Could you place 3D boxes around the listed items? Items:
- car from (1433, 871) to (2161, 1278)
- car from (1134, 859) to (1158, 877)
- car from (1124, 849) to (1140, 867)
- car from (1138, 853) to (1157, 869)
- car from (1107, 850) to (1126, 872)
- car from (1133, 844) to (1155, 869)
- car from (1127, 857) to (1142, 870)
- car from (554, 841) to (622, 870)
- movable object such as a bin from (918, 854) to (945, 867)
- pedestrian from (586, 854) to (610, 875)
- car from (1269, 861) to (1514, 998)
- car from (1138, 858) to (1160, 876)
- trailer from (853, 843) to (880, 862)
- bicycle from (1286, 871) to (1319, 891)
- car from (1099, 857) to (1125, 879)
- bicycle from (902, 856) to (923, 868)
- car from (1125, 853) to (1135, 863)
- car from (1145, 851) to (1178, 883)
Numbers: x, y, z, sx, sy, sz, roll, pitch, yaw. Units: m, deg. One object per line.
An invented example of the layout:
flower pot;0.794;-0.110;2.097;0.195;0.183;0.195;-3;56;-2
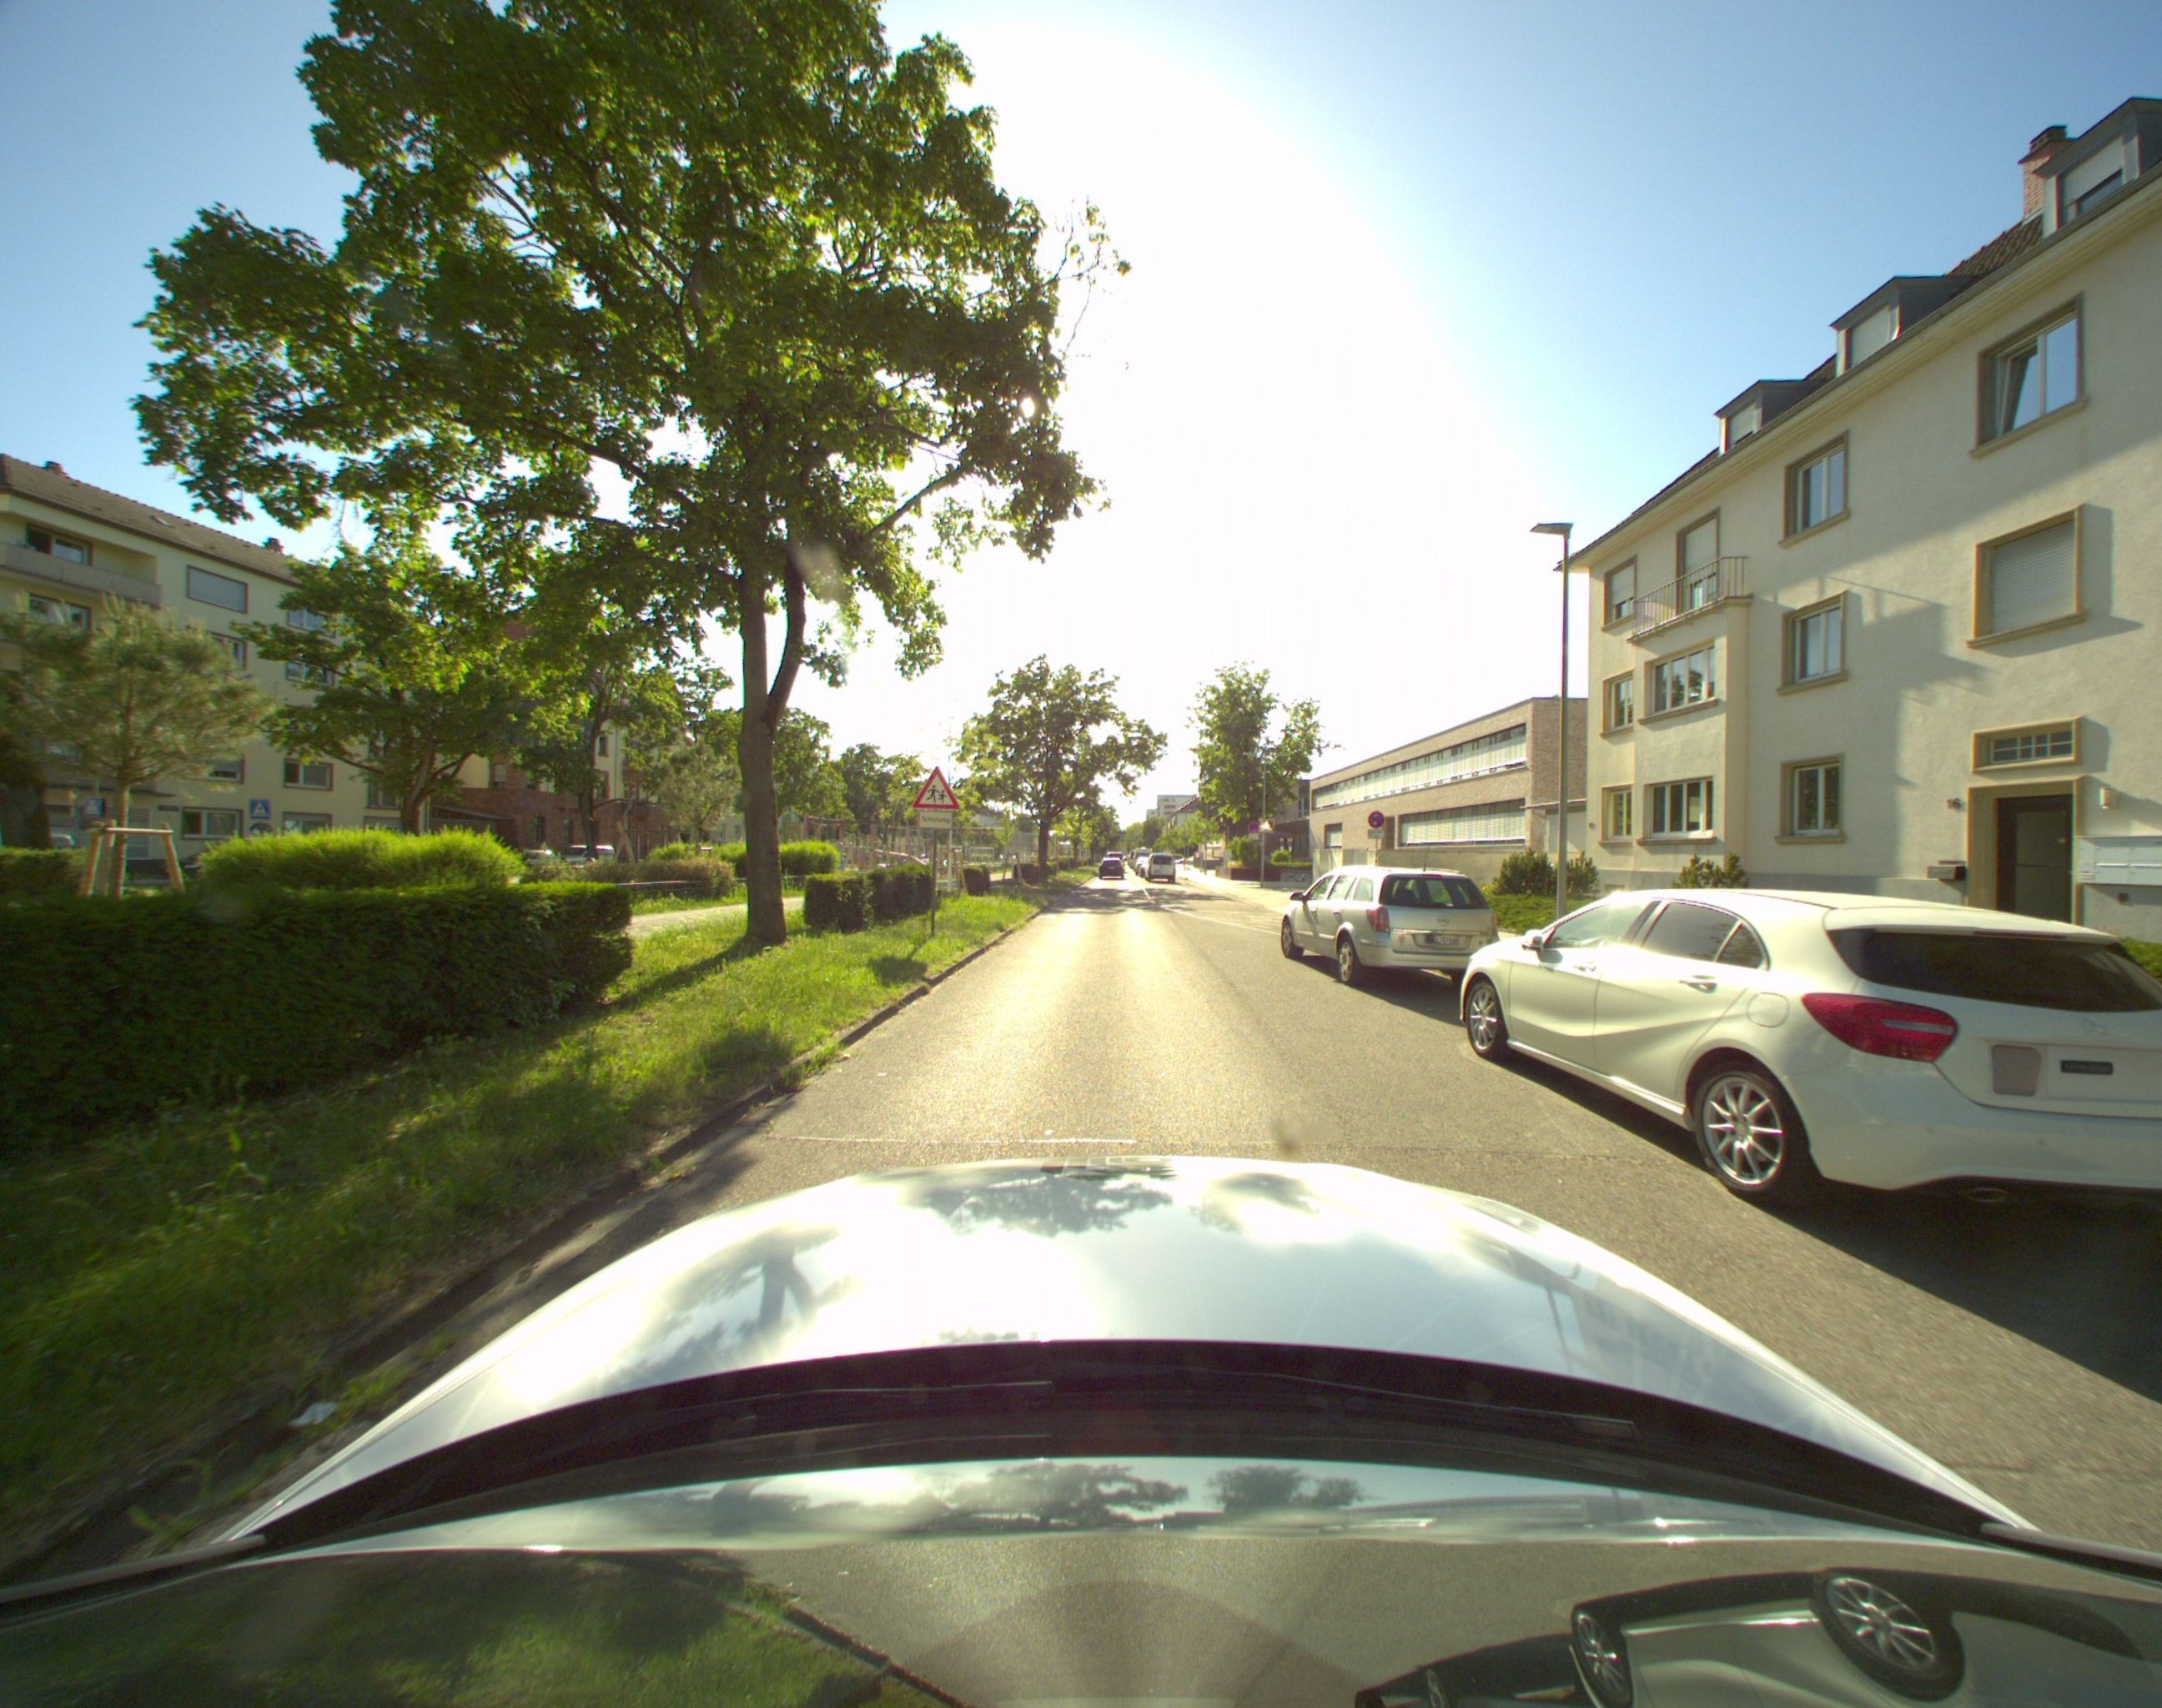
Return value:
car;4.018;0.895;5.241;1.787;1.421;4.291;2;0;3
car;4.972;1.060;62.896;1.695;1.325;4.132;1;0;2
car;7.457;0.623;119.493;2.107;2.516;6.534;0;0;1
car;6.568;0.694;81.157;1.614;1.588;3.592;1;0;1
car;3.584;0.711;81.811;1.787;2.122;4.003;1;0;3
car;6.911;0.296;89.635;2.232;2.574;5.436;1;0;3
car;6.992;1.289;107.126;1.839;1.640;4.506;0;0;2
car;-36.098;0.093;59.745;1.787;1.982;4.839;1;0;3
movable object such as a bin;-13.905;0.623;75.998;2.324;1.242;1.056;0;0;-2
pedestrian;-22.544;0.483;38.003;0.538;0.979;0.780;1;0;10
car;4.057;0.879;11.486;1.655;1.465;4.409;2;0;-1
car;5.734;1.071;69.237;1.694;1.478;4.176;1;0;3
trailer;-33.518;-0.170;127.361;2.334;2.870;5.805;1;0;2
bicycle;12.268;1.519;45.124;1.663;1.030;0.500;2;0;0
car;2.253;0.970;57.994;1.787;1.510;4.003;1;0;3
bicycle;-15.428;0.729;74.557;1.788;1.107;0.500;1;0;0
car;9.171;0.781;152.868;1.786;1.855;4.419;1;0;5
car;5.187;0.805;52.901;1.801;1.908;4.462;1;0;1
